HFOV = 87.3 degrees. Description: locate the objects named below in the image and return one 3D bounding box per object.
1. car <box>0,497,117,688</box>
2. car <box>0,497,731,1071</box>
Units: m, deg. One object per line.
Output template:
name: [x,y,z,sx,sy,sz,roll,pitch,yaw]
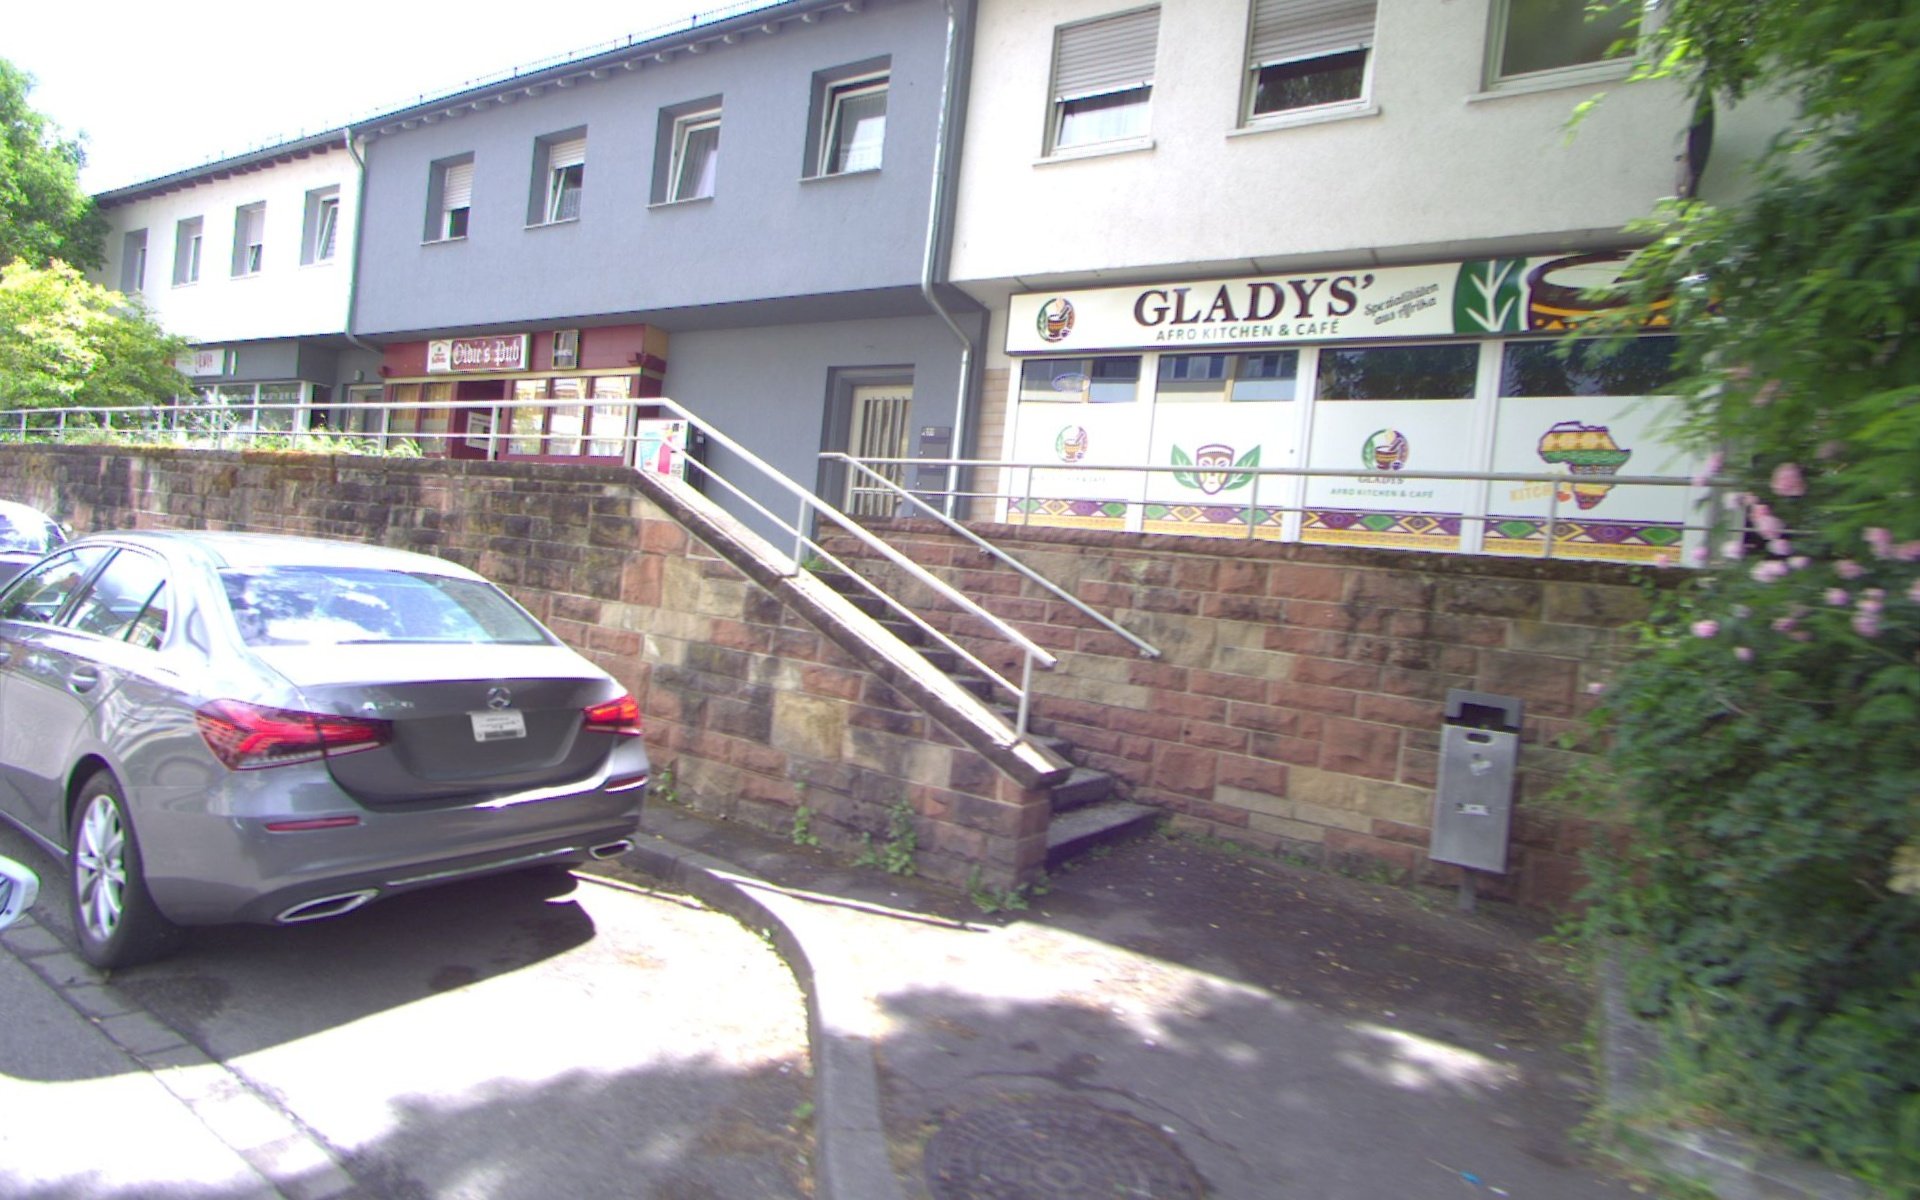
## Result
car: [-9.102,-0.253,8.587,4.001,1.423,1.691,7,1,32]
car: [-3.314,0.391,4.667,4.343,1.423,1.836,7,1,34]
